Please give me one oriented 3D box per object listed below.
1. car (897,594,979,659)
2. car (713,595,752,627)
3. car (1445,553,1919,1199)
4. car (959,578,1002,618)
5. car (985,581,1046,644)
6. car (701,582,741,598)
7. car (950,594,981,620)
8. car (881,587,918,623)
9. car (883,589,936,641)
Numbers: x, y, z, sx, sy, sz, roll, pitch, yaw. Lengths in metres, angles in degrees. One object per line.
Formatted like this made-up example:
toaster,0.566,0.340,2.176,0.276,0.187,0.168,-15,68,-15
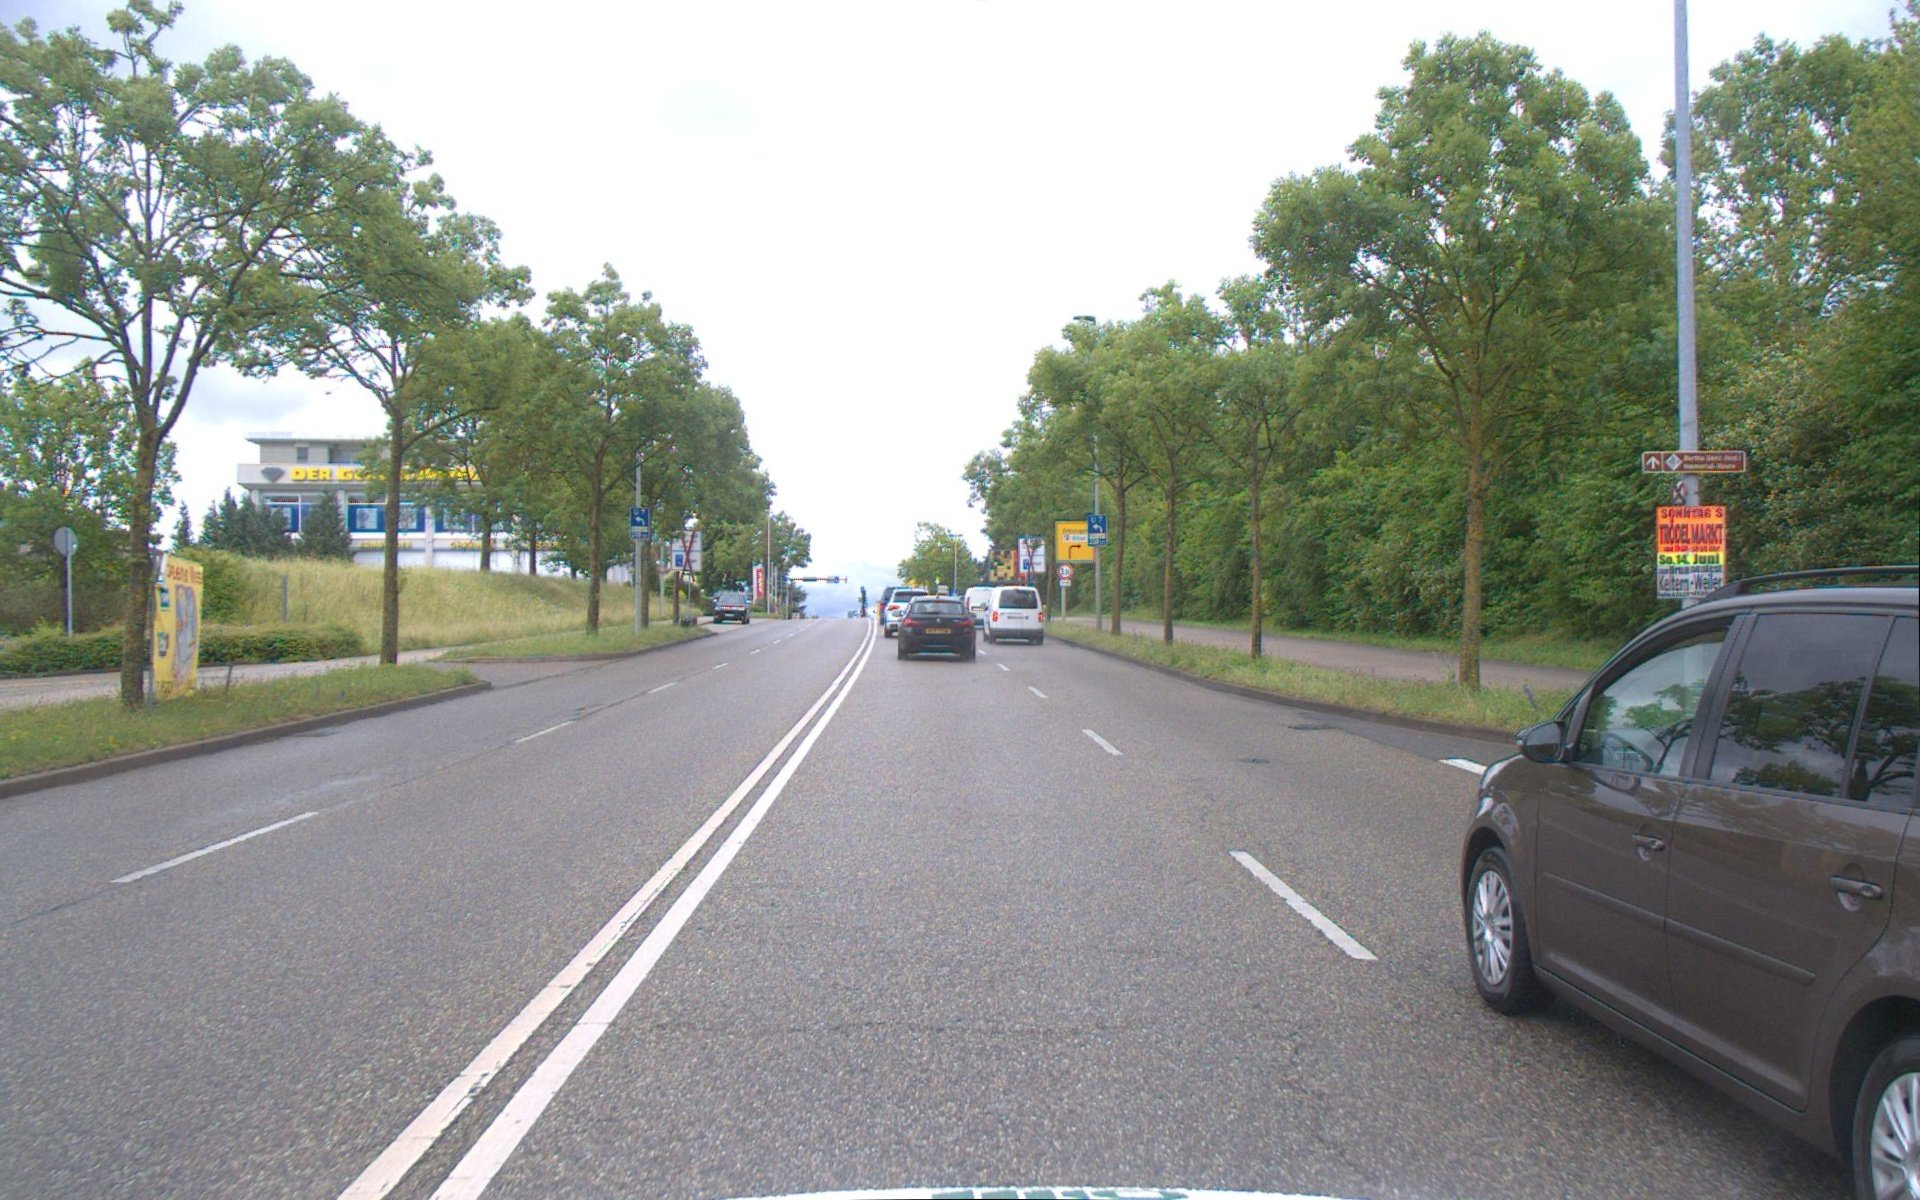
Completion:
car,-0.522,0.599,39.344,1.817,1.444,3.956,1,0,-1
car,-12.517,0.590,91.132,1.691,1.697,4.485,1,0,-3
car,2.930,0.725,4.833,1.679,1.624,4.128,1,0,-2
car,0.894,-0.075,74.451,1.777,1.738,3.944,0,0,-1
car,1.744,0.397,53.092,1.706,1.902,3.944,1,0,-1
car,-23.309,-1.012,161.304,3.757,1.508,1.737,0,-1,-11
car,0.266,0.362,89.445,1.568,1.396,3.679,-1,0,-2
car,-2.965,0.251,81.621,1.722,1.738,3.944,0,0,-1
car,-1.734,0.499,57.850,1.693,1.741,3.382,1,0,0
